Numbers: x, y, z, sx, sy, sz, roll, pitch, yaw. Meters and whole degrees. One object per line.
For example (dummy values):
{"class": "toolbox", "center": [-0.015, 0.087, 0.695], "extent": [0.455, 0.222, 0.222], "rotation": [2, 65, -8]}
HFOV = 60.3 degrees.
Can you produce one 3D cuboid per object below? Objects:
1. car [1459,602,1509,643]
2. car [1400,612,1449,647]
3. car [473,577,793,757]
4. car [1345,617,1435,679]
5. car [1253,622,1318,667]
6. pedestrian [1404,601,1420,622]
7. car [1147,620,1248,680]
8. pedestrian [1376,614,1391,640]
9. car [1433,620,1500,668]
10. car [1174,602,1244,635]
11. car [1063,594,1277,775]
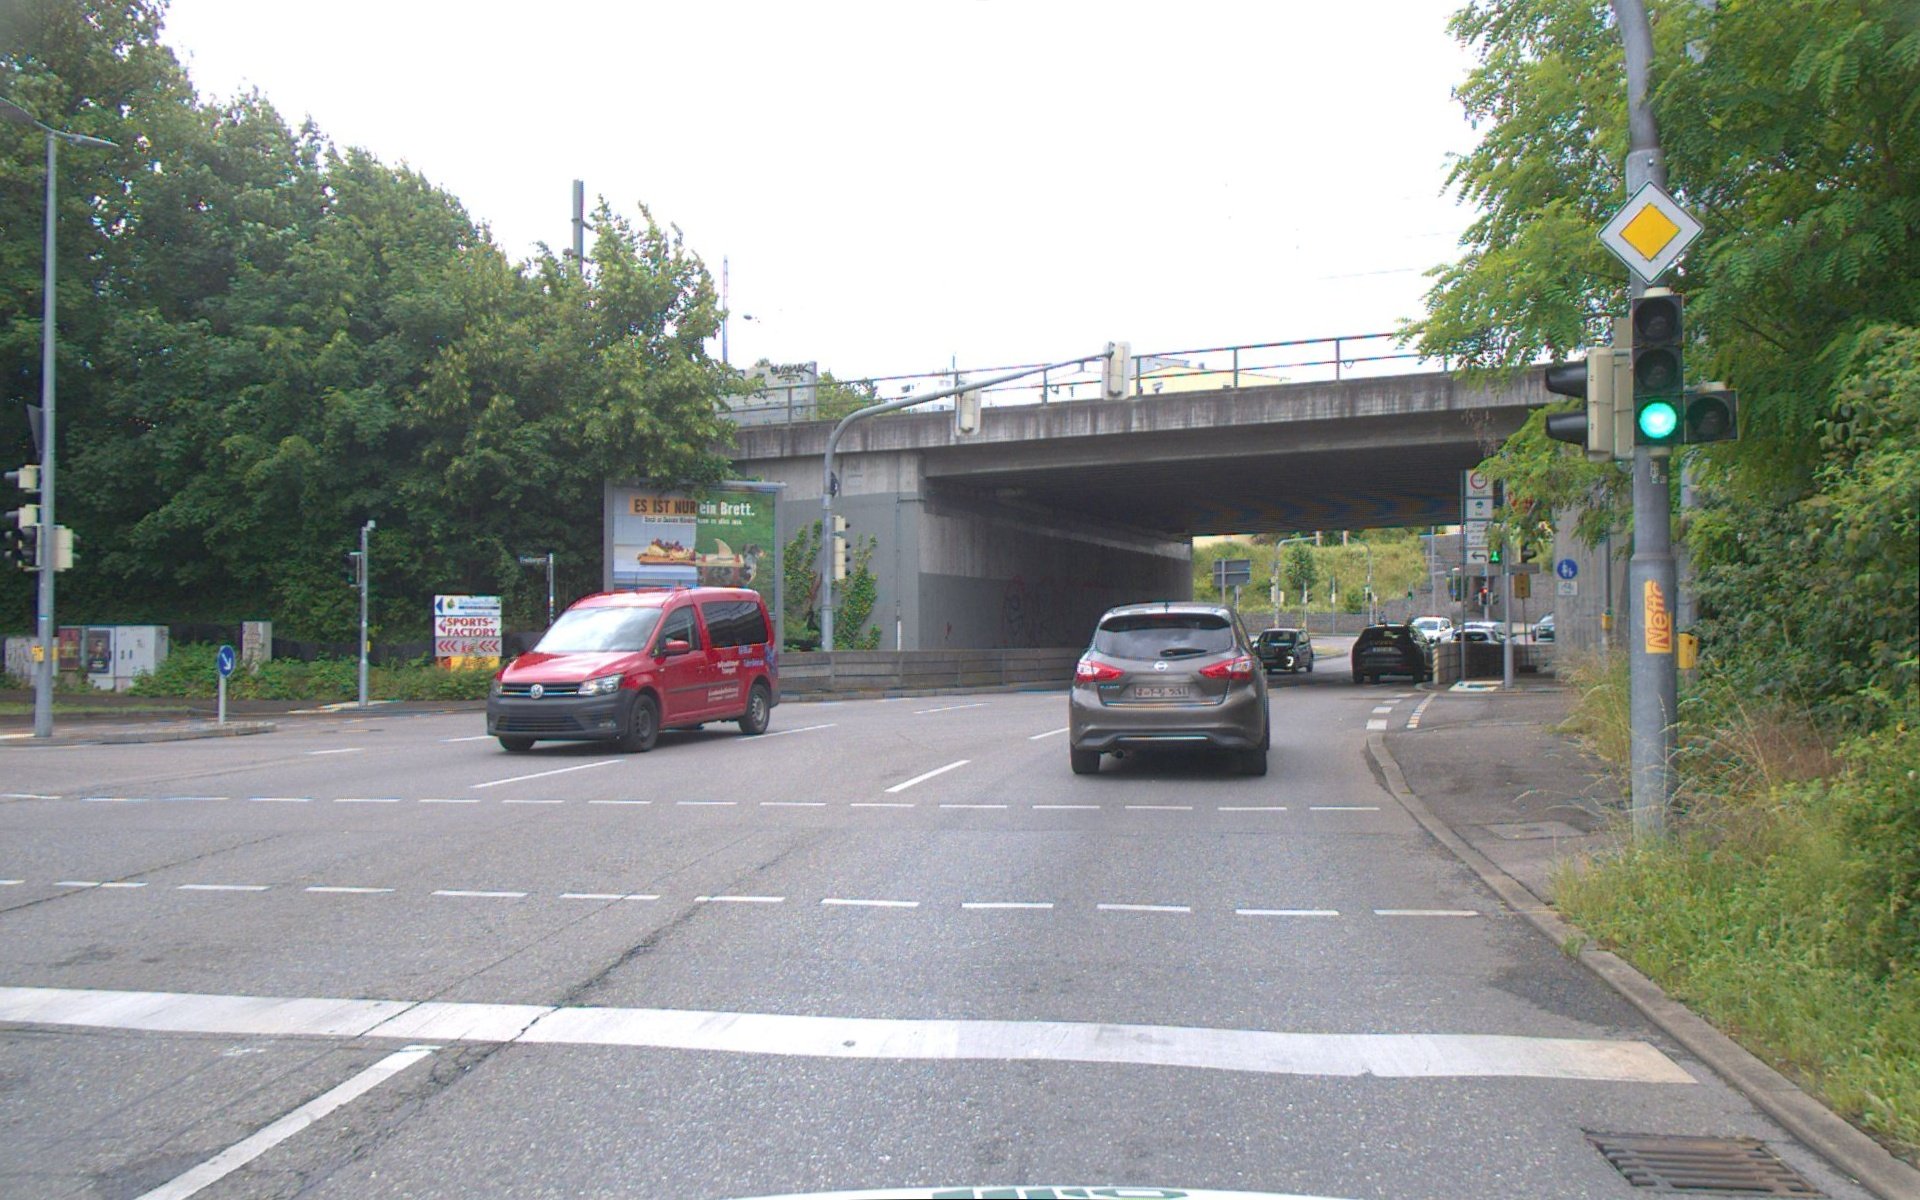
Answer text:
{"class": "car", "center": [22.784, 0.967, 71.859], "extent": [1.792, 1.736, 3.868], "rotation": [0, 0, 22]}
{"class": "car", "center": [23.134, 1.488, 82.230], "extent": [1.747, 1.689, 4.106], "rotation": [-1, -2, 24]}
{"class": "car", "center": [-3.685, 0.704, 19.589], "extent": [1.652, 1.857, 4.728], "rotation": [0, 0, 17]}
{"class": "car", "center": [11.177, 1.213, 42.858], "extent": [1.860, 1.492, 4.001], "rotation": [-1, 0, 20]}
{"class": "car", "center": [11.109, 1.518, 56.287], "extent": [1.687, 1.434, 4.001], "rotation": [-1, -2, 18]}
{"class": "pedestrian", "center": [27.761, 0.690, 101.583], "extent": [0.891, 1.245, 0.730], "rotation": [3, 1, 16]}
{"class": "car", "center": [6.375, 1.291, 44.051], "extent": [1.779, 1.503, 4.136], "rotation": [0, -1, 22]}
{"class": "pedestrian", "center": [27.246, 1.748, 106.522], "extent": [0.932, 1.641, 0.700], "rotation": [0, -1, 15]}
{"class": "car", "center": [18.064, 1.536, 58.912], "extent": [1.953, 1.646, 3.999], "rotation": [-1, -1, 22]}
{"class": "car", "center": [15.247, 1.162, 101.177], "extent": [3.905, 1.982, 2.000], "rotation": [-1, -1, 22]}
{"class": "car", "center": [2.149, 0.757, 16.027], "extent": [1.805, 1.519, 4.003], "rotation": [0, -1, 11]}
